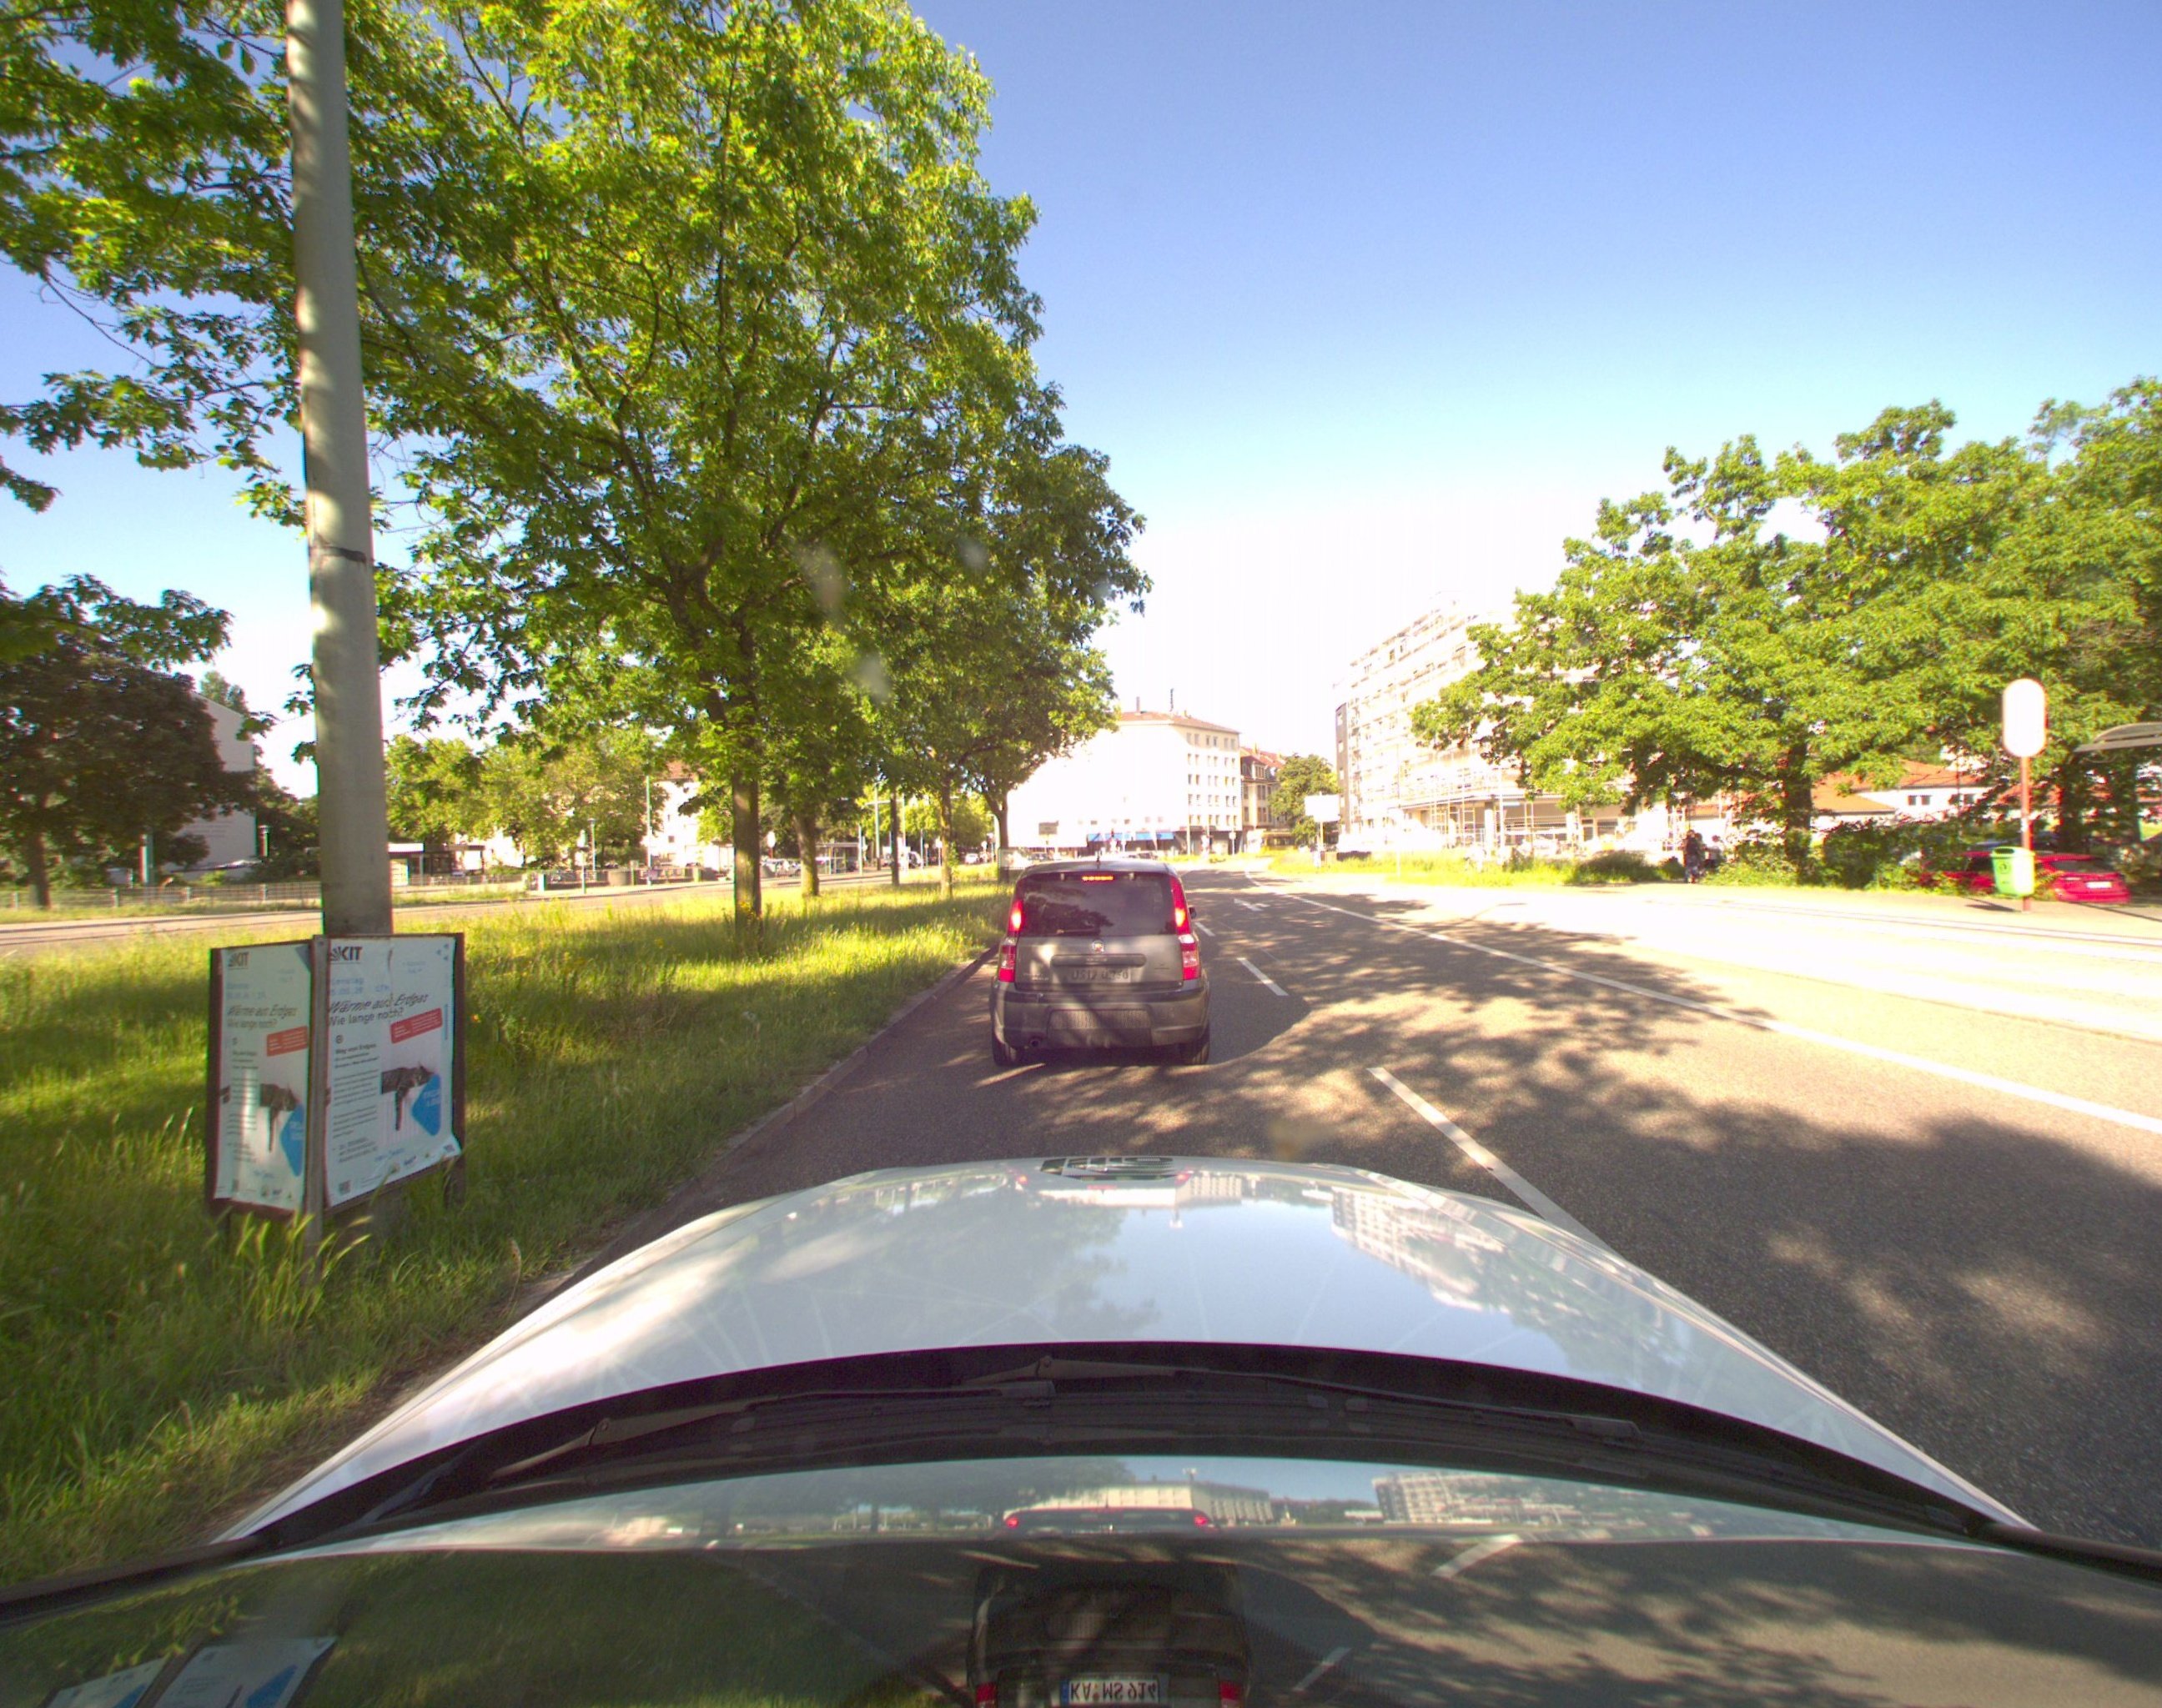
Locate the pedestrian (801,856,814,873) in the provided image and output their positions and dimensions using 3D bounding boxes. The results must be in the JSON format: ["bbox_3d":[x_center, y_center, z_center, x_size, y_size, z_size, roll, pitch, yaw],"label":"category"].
[{"bbox_3d":[-26.343,1.026,78.527,0.910,1.607,0.802,-2,0,41],"label":"pedestrian"}]

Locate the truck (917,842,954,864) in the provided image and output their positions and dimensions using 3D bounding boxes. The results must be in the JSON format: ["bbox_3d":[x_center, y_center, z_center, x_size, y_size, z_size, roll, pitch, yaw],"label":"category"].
[{"bbox_3d":[-23.017,-0.145,128.565,5.425,3.168,2.358,-2,0,30],"label":"truck"}]

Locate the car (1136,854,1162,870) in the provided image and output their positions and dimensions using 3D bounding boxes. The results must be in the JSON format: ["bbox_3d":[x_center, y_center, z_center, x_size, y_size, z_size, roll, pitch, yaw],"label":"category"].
[{"bbox_3d":[4.863,0.574,57.713,1.133,1.064,2.735,-2,0,19],"label":"car"}]

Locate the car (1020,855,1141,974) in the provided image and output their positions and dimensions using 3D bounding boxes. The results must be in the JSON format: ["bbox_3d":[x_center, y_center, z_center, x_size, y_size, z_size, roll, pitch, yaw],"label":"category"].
[{"bbox_3d":[0.051,0.746,11.759,1.458,1.401,3.395,-2,0,2],"label":"car"}]

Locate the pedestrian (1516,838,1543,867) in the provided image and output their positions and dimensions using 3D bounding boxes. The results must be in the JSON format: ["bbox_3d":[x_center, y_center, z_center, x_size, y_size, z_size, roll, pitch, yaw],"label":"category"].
[{"bbox_3d":[25.953,-0.090,47.116,0.893,1.653,0.978,-2,0,-28],"label":"pedestrian"}]

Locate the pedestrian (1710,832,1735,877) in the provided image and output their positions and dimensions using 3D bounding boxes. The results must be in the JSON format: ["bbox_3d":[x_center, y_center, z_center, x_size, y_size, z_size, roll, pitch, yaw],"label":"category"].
[{"bbox_3d":[20.898,0.015,26.546,0.516,1.447,0.595,-2,0,28],"label":"pedestrian"}]

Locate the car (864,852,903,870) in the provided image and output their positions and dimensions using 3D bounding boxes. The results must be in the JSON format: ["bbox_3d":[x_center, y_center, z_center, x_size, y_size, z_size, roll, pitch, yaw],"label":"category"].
[{"bbox_3d":[-23.951,0.888,99.023,4.164,2.013,1.931,-2,0,-1],"label":"car"}]

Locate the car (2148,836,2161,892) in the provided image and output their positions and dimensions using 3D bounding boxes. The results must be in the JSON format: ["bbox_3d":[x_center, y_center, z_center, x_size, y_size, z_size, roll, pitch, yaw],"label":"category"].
[{"bbox_3d":[29.863,0.235,20.178,1.911,1.486,3.725,-2,0,-17],"label":"car"}]

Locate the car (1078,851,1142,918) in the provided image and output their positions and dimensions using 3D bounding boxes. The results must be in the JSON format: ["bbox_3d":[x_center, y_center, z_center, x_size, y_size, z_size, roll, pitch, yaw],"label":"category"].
[{"bbox_3d":[0.727,0.697,20.791,1.458,1.508,3.506,-2,0,2],"label":"car"}]

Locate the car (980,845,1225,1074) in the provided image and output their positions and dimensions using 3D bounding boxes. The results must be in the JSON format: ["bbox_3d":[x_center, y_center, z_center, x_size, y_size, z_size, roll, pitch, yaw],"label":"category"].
[{"bbox_3d":[0.207,0.702,7.531,1.622,1.508,4.002,-2,0,2],"label":"car"}]

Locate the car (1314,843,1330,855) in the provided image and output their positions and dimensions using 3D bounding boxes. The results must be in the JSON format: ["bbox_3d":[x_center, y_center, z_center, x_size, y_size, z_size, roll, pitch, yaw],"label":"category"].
[{"bbox_3d":[27.620,-0.588,93.426,1.514,1.314,3.304,-2,0,20],"label":"car"}]

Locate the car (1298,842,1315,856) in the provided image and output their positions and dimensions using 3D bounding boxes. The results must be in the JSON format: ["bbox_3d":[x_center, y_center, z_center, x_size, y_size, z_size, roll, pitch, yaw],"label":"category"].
[{"bbox_3d":[24.909,-0.537,89.996,1.669,1.449,3.588,-2,0,18],"label":"car"}]

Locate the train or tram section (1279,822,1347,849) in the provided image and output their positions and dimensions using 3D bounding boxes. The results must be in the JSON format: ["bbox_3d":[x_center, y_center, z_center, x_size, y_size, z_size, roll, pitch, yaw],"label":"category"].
[{"bbox_3d":[35.714,-2.851,124.240,3.263,3.770,20.944,-2,0,35],"label":"train or tram section"}]

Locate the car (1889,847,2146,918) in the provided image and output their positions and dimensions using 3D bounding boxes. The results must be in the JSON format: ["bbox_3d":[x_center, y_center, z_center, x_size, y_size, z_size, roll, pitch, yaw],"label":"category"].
[{"bbox_3d":[21.988,0.599,19.373,1.747,1.486,3.743,-2,0,-2],"label":"car"}]

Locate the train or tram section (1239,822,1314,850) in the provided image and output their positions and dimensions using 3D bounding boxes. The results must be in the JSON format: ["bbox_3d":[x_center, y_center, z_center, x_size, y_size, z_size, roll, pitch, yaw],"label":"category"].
[{"bbox_3d":[27.177,-2.484,111.874,3.263,3.513,19.509,-2,0,34],"label":"train or tram section"}]

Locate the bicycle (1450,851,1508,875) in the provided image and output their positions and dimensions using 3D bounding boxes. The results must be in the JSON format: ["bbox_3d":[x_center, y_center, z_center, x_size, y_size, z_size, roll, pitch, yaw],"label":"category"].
[{"bbox_3d":[19.741,0.453,40.455,2.502,1.198,0.711,0,-1,2],"label":"bicycle"}]

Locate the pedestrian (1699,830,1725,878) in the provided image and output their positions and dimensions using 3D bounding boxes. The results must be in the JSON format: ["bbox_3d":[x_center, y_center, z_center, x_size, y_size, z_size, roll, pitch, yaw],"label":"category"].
[{"bbox_3d":[19.207,-0.004,24.792,0.516,1.447,0.595,-2,0,28],"label":"pedestrian"}]

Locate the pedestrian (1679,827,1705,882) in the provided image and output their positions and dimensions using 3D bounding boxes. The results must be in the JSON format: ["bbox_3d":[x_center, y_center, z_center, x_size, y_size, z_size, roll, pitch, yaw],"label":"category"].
[{"bbox_3d":[18.531,0.013,24.698,0.516,1.612,0.595,-2,0,28],"label":"pedestrian"}]

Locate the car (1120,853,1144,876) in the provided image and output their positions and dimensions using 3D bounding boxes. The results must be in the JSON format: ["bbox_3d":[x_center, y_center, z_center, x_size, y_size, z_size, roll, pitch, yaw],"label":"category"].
[{"bbox_3d":[3.094,0.619,49.674,1.351,1.281,2.877,-2,0,2],"label":"car"}]

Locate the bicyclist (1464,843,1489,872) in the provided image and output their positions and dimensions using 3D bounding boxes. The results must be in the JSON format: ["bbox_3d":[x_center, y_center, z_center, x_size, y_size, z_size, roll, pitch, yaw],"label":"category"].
[{"bbox_3d":[19.644,0.190,40.454,0.839,1.438,0.744,0,-1,2],"label":"bicyclist"}]

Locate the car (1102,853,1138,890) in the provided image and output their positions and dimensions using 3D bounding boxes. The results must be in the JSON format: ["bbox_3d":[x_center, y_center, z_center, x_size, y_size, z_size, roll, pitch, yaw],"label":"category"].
[{"bbox_3d":[1.601,0.691,33.964,1.351,1.449,3.267,-2,0,2],"label":"car"}]

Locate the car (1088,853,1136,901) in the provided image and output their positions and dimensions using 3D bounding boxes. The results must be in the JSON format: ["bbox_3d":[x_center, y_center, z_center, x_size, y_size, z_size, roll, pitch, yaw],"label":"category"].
[{"bbox_3d":[1.030,0.726,27.389,1.458,1.424,3.383,-2,1,2],"label":"car"}]

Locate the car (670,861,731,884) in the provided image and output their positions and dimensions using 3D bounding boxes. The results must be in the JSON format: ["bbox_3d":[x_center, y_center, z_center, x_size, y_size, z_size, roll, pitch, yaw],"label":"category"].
[{"bbox_3d":[-31.198,1.499,66.824,1.974,1.684,4.025,-2,0,40],"label":"car"}]

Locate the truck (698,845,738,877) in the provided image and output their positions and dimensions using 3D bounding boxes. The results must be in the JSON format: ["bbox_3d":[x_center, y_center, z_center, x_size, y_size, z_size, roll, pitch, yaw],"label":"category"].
[{"bbox_3d":[-33.080,0.628,74.196,2.012,2.805,3.951,-2,0,-44],"label":"truck"}]

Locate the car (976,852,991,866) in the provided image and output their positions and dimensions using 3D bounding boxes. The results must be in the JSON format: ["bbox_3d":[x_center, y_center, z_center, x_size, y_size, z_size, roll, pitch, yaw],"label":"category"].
[{"bbox_3d":[-14.850,0.729,124.155,1.988,2.013,3.997,-2,0,-2],"label":"car"}]

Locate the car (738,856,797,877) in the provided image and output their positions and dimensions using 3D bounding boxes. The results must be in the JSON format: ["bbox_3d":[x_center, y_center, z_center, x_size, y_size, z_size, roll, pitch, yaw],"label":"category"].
[{"bbox_3d":[-27.322,1.066,71.061,1.974,1.684,4.348,-2,0,40],"label":"car"}]
